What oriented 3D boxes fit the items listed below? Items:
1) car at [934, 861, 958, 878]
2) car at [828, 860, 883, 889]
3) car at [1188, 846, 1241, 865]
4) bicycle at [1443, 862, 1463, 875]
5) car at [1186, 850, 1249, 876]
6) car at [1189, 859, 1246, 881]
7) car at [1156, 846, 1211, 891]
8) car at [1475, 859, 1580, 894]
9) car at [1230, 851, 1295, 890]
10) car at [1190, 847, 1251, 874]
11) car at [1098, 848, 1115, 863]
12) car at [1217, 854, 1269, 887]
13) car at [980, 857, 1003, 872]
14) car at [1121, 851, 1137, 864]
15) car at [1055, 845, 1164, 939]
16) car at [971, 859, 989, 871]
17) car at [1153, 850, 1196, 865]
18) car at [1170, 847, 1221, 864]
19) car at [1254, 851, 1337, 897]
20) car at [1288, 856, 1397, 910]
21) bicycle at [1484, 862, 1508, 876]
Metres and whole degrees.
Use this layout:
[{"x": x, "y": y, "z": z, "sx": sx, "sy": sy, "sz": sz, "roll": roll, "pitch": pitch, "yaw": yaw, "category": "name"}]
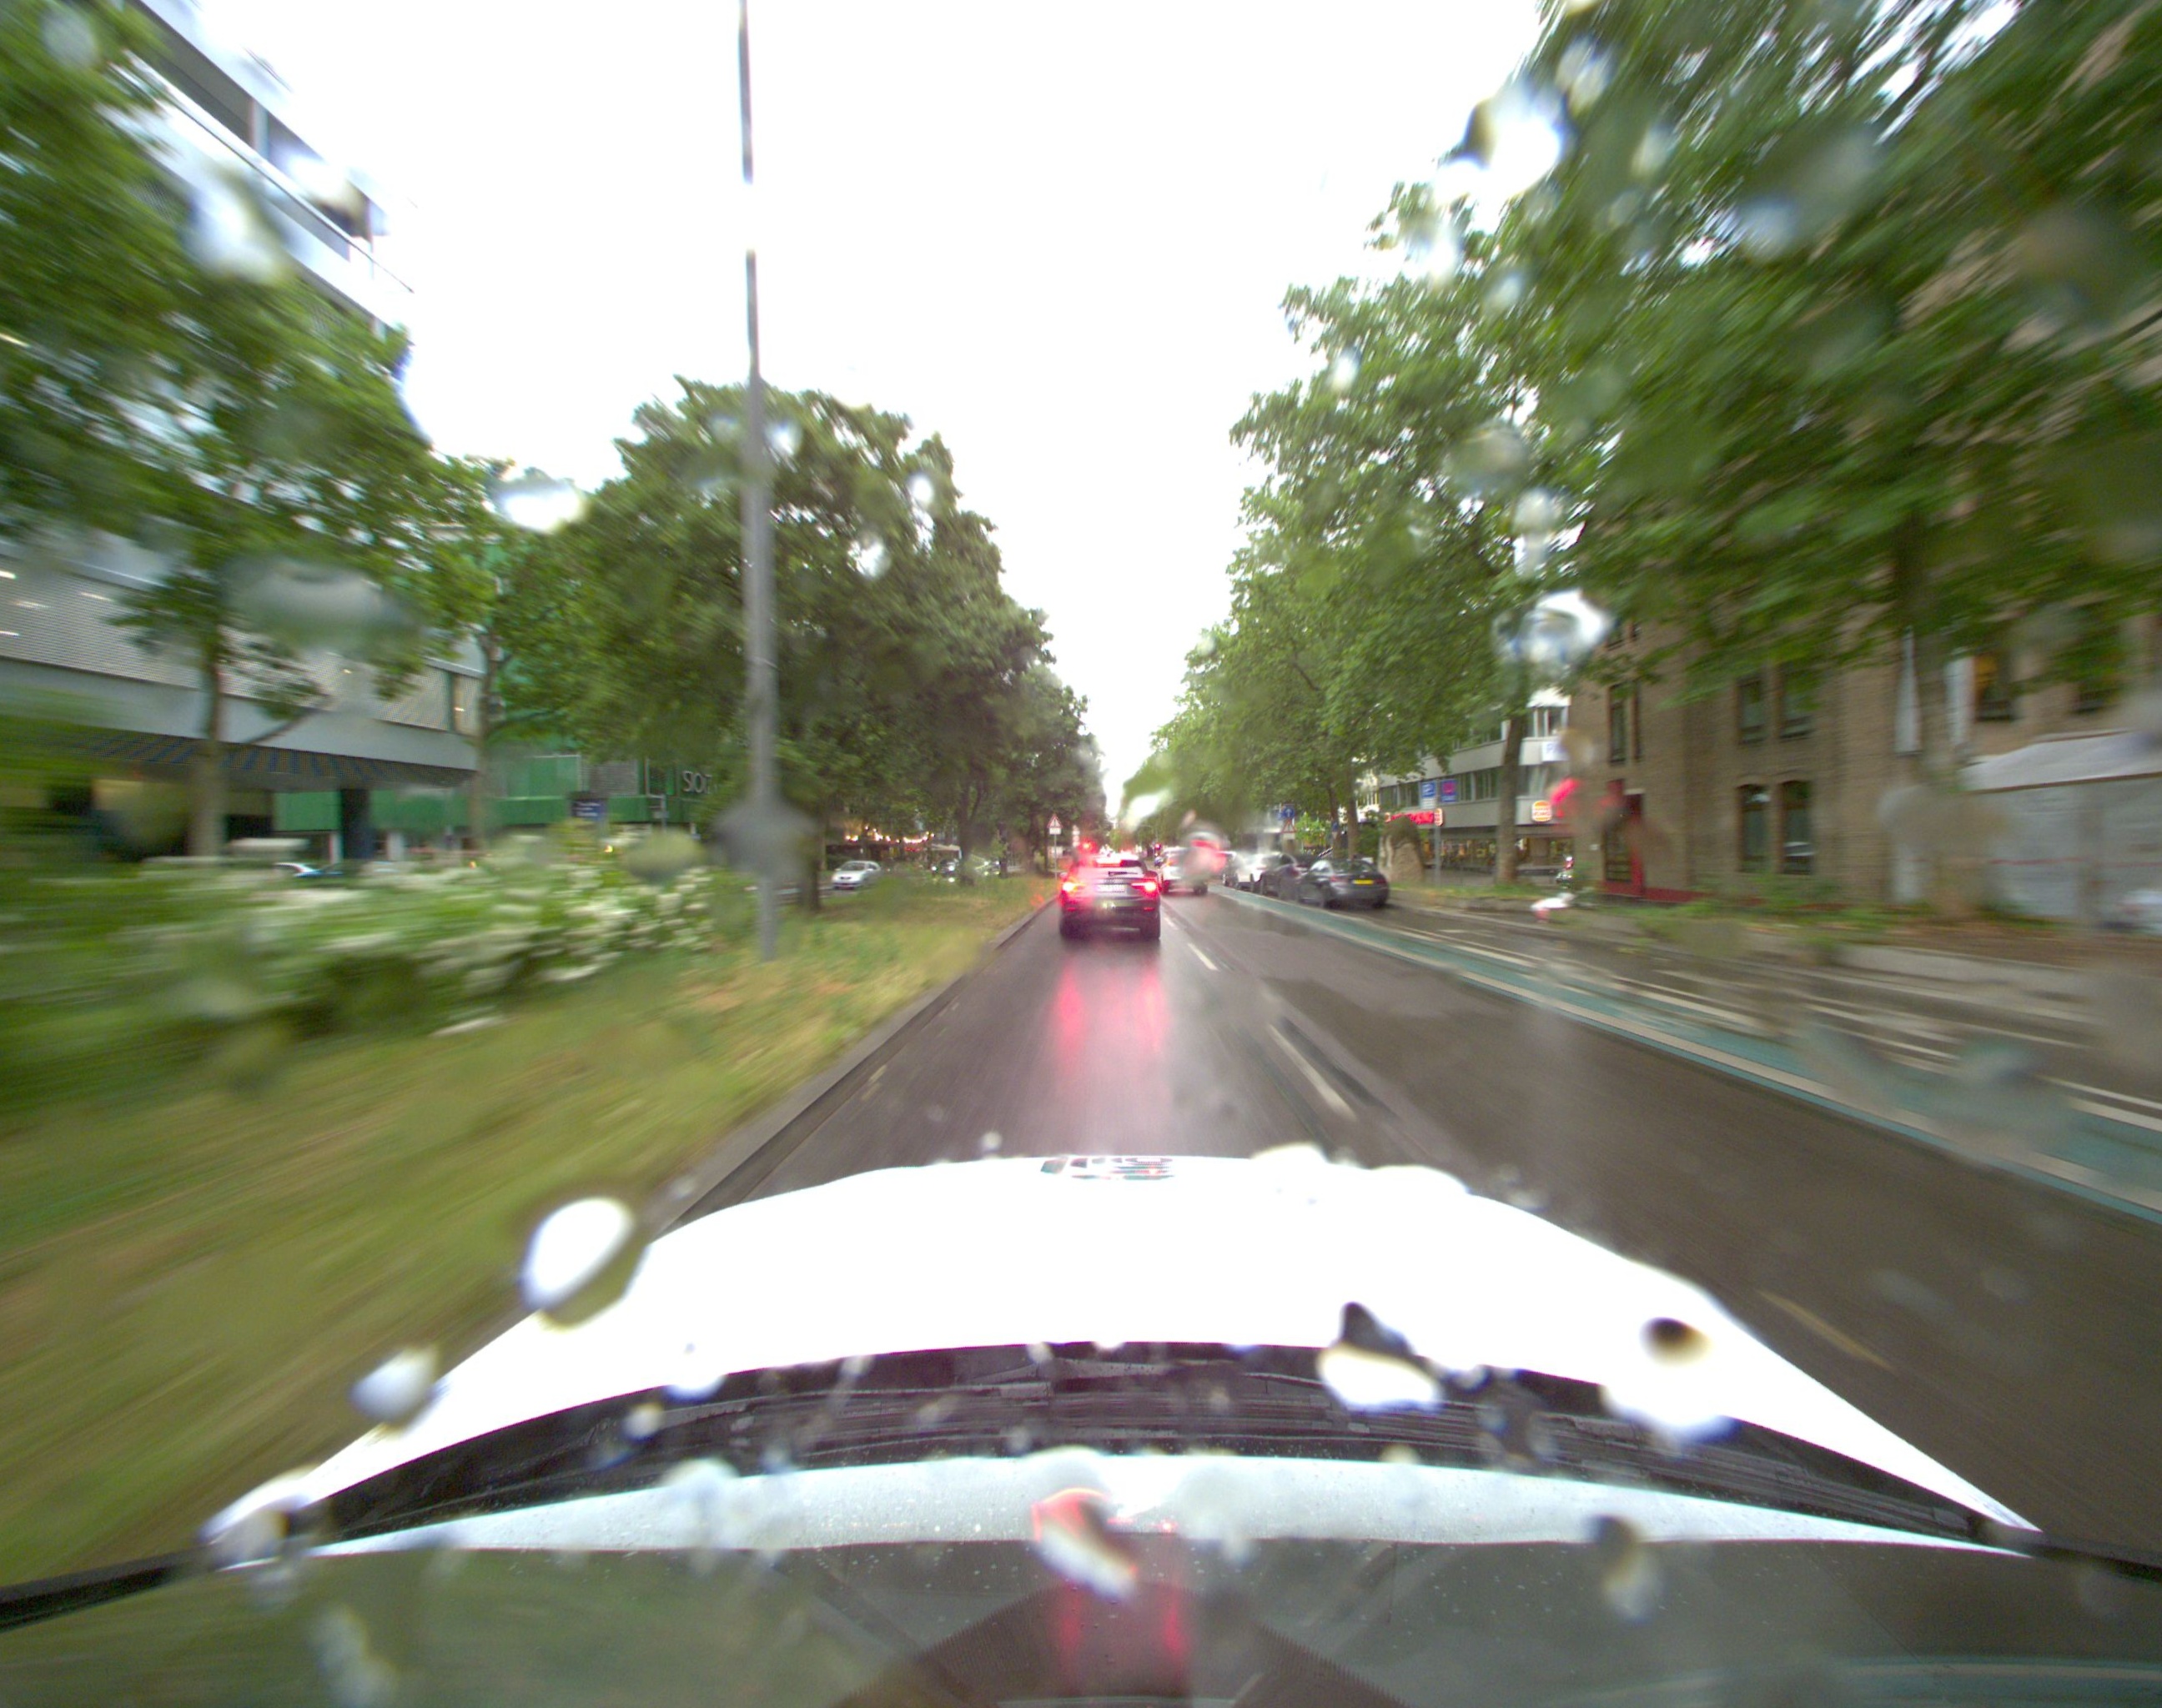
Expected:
[{"x": -10.830, "y": 1.239, "z": 65.670, "sx": 1.687, "sy": 1.258, "sz": 3.636, "roll": 1, "pitch": -1, "yaw": -7, "category": "car"}, {"x": -11.648, "y": 1.030, "z": 42.380, "sx": 1.642, "sy": 1.435, "sz": 3.814, "roll": -1, "pitch": -1, "yaw": 2, "category": "car"}, {"x": 12.872, "y": 0.129, "z": 78.369, "sx": 4.595, "sy": 1.706, "sz": 2.012, "roll": 1, "pitch": -1, "yaw": 29, "category": "car"}, {"x": 25.083, "y": 0.991, "z": 54.932, "sx": 0.446, "sy": 0.836, "sz": 2.027, "roll": 1, "pitch": -1, "yaw": 2, "category": "bicycle"}, {"x": 10.915, "y": 0.687, "z": 65.382, "sx": 4.548, "sy": 2.014, "sz": 1.980, "roll": 0, "pitch": -1, "yaw": 39, "category": "car"}, {"x": 8.930, "y": 1.060, "z": 53.505, "sx": 1.568, "sy": 1.378, "sz": 3.831, "roll": 2, "pitch": -1, "yaw": -31, "category": "car"}, {"x": 4.145, "y": 0.588, "z": 33.518, "sx": 1.871, "sy": 1.697, "sz": 4.001, "roll": 1, "pitch": -1, "yaw": 1, "category": "car"}, {"x": 21.825, "y": 1.087, "z": 39.966, "sx": 4.211, "sy": 1.567, "sz": 2.065, "roll": 1, "pitch": -1, "yaw": 18, "category": "car"}, {"x": 7.724, "y": 0.706, "z": 35.017, "sx": 1.723, "sy": 1.571, "sz": 4.069, "roll": 1, "pitch": -1, "yaw": -3, "category": "car"}, {"x": 12.201, "y": 0.553, "z": 71.430, "sx": 4.835, "sy": 2.254, "sz": 2.012, "roll": 1, "pitch": -1, "yaw": 30, "category": "car"}, {"x": 3.060, "y": 0.143, "z": 98.895, "sx": 1.986, "sy": 1.727, "sz": 4.000, "roll": 1, "pitch": -1, "yaw": 1, "category": "car"}, {"x": 7.901, "y": 0.800, "z": 40.015, "sx": 1.691, "sy": 1.523, "sz": 4.021, "roll": 1, "pitch": -1, "yaw": -1, "category": "car"}, {"x": -10.122, "y": 1.204, "z": 92.172, "sx": 1.753, "sy": 1.703, "sz": 4.337, "roll": 1, "pitch": -1, "yaw": 4, "category": "car"}, {"x": 6.320, "y": 0.518, "z": 107.123, "sx": 1.986, "sy": 1.651, "sz": 4.001, "roll": 1, "pitch": -1, "yaw": 2, "category": "car"}, {"x": 0.508, "y": 0.667, "z": 15.907, "sx": 1.843, "sy": 1.602, "sz": 4.000, "roll": 0, "pitch": 0, "yaw": 0, "category": "car"}, {"x": -12.985, "y": 1.436, "z": 104.907, "sx": 1.719, "sy": 1.518, "sz": 4.002, "roll": 1, "pitch": -1, "yaw": 2, "category": "car"}, {"x": 11.106, "y": 0.435, "z": 96.540, "sx": 4.595, "sy": 1.706, "sz": 2.012, "roll": 1, "pitch": -1, "yaw": 29, "category": "car"}, {"x": 11.601, "y": 0.141, "z": 82.492, "sx": 4.595, "sy": 1.706, "sz": 2.012, "roll": 1, "pitch": -1, "yaw": 29, "category": "car"}, {"x": 7.860, "y": 0.724, "z": 30.289, "sx": 1.861, "sy": 1.520, "sz": 4.557, "roll": 1, "pitch": -1, "yaw": 0, "category": "car"}, {"x": 7.697, "y": 0.805, "z": 24.455, "sx": 1.866, "sy": 1.421, "sz": 4.612, "roll": 1, "pitch": -1, "yaw": 1, "category": "car"}, {"x": 25.116, "y": 0.915, "z": 49.286, "sx": 0.446, "sy": 0.836, "sz": 2.027, "roll": 1, "pitch": -1, "yaw": 2, "category": "bicycle"}]
